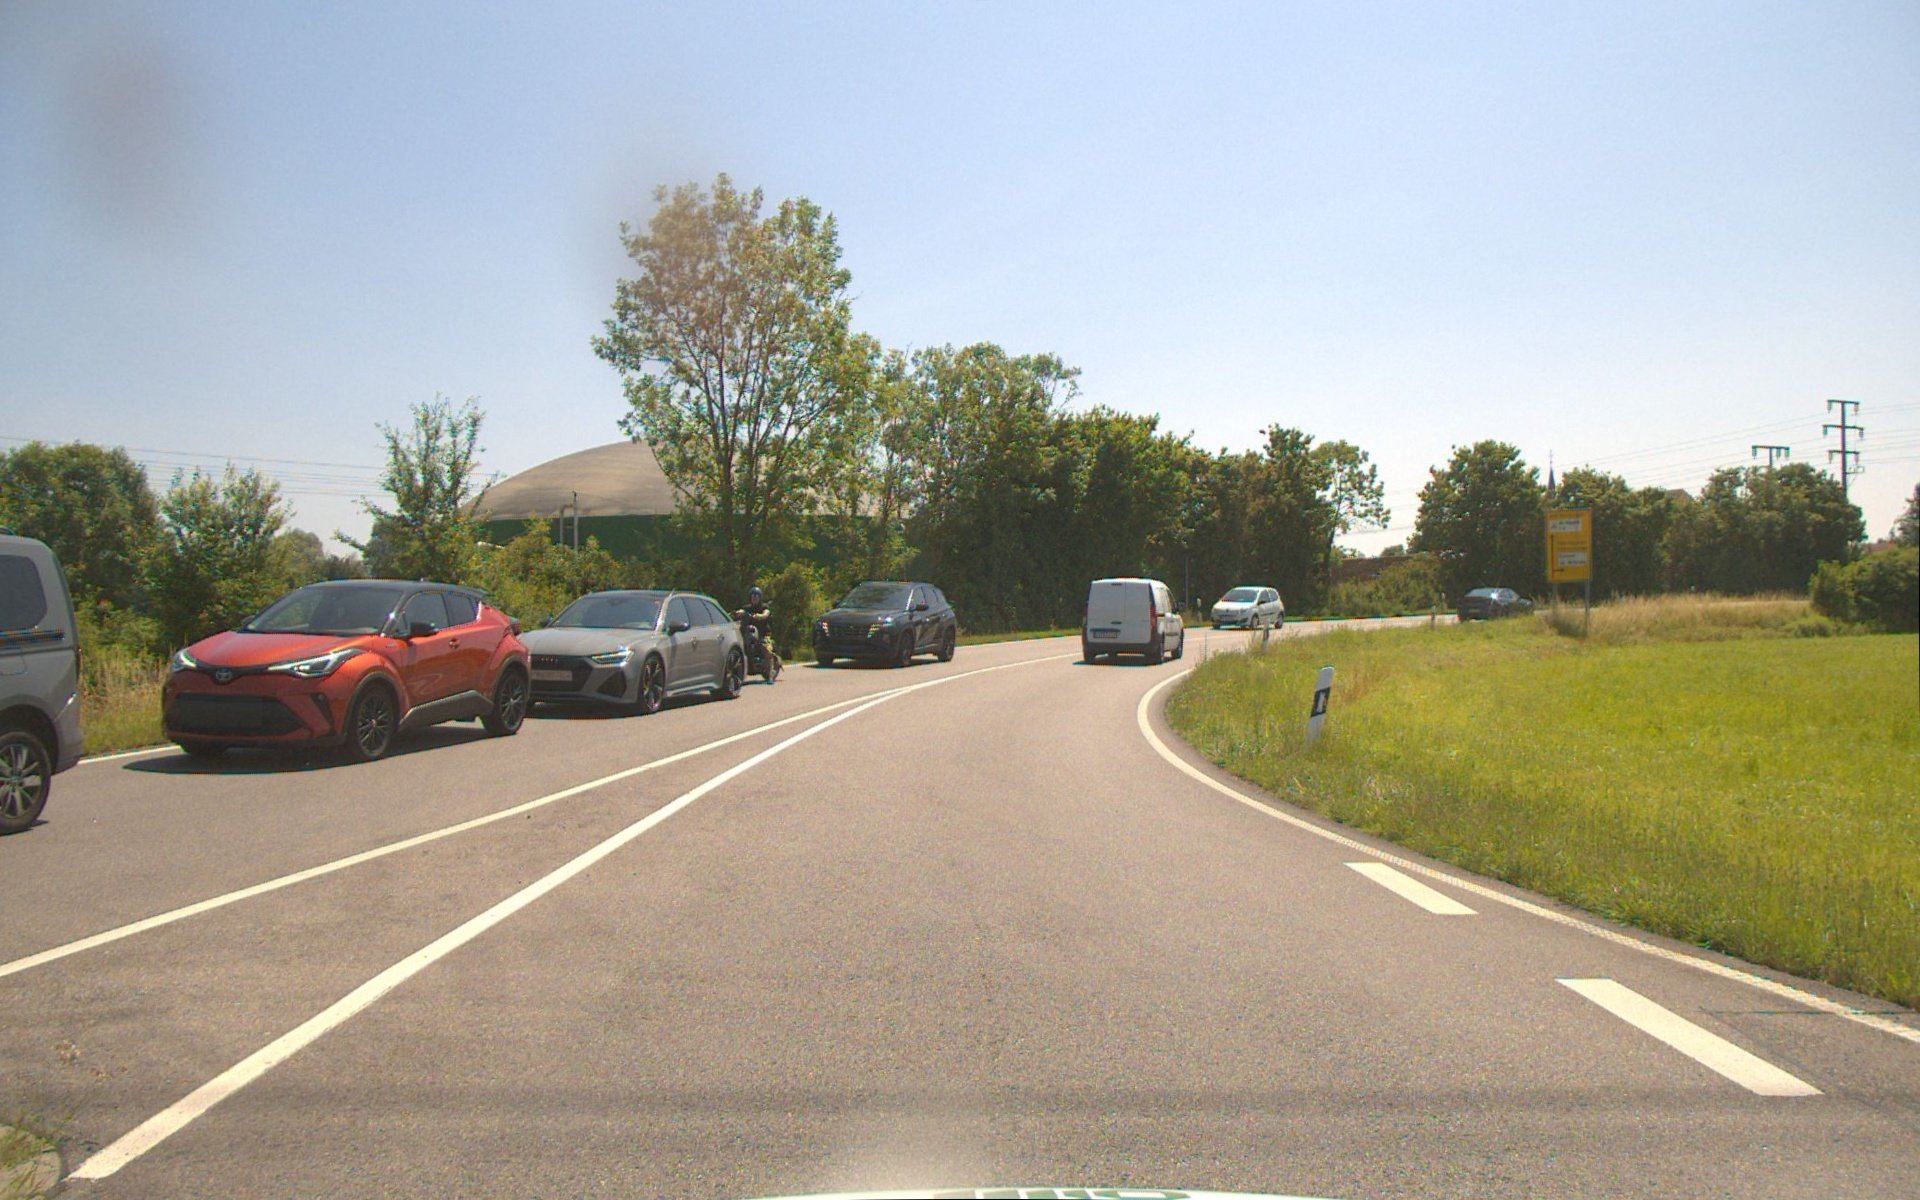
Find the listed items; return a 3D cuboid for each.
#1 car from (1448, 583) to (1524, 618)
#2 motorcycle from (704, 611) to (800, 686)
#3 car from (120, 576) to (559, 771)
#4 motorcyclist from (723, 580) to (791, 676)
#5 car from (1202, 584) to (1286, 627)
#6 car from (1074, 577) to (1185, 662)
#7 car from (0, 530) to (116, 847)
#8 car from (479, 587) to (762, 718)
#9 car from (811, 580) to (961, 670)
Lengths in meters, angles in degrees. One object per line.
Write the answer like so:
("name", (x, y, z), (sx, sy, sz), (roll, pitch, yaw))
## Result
("car", (22.283, 0.026, 69.956), (1.694, 1.445, 3.722), (-2, -1, 42))
("motorcycle", (-3.330, 0.754, 26.762), (0.765, 1.143, 2.432), (1, 0, 12))
("car", (-5.592, 0.606, 15.603), (1.760, 1.542, 4.395), (1, 0, 12))
("motorcyclist", (-3.284, 0.446, 26.850), (0.764, 1.521, 1.132), (0, -1, 12))
("car", (10.222, 0.219, 59.366), (1.511, 1.468, 3.594), (2, 0, 36))
("car", (3.823, 0.438, 36.773), (1.863, 1.763, 3.825), (-1, -1, 15))
("car", (-6.803, 0.528, 8.712), (1.885, 1.864, 4.442), (-1, -1, 10))
("car", (-4.230, 0.619, 21.515), (1.802, 1.485, 4.813), (1, 0, 12))
("car", (-1.418, 0.455, 33.402), (1.666, 1.666, 4.252), (1, 1, 17))
